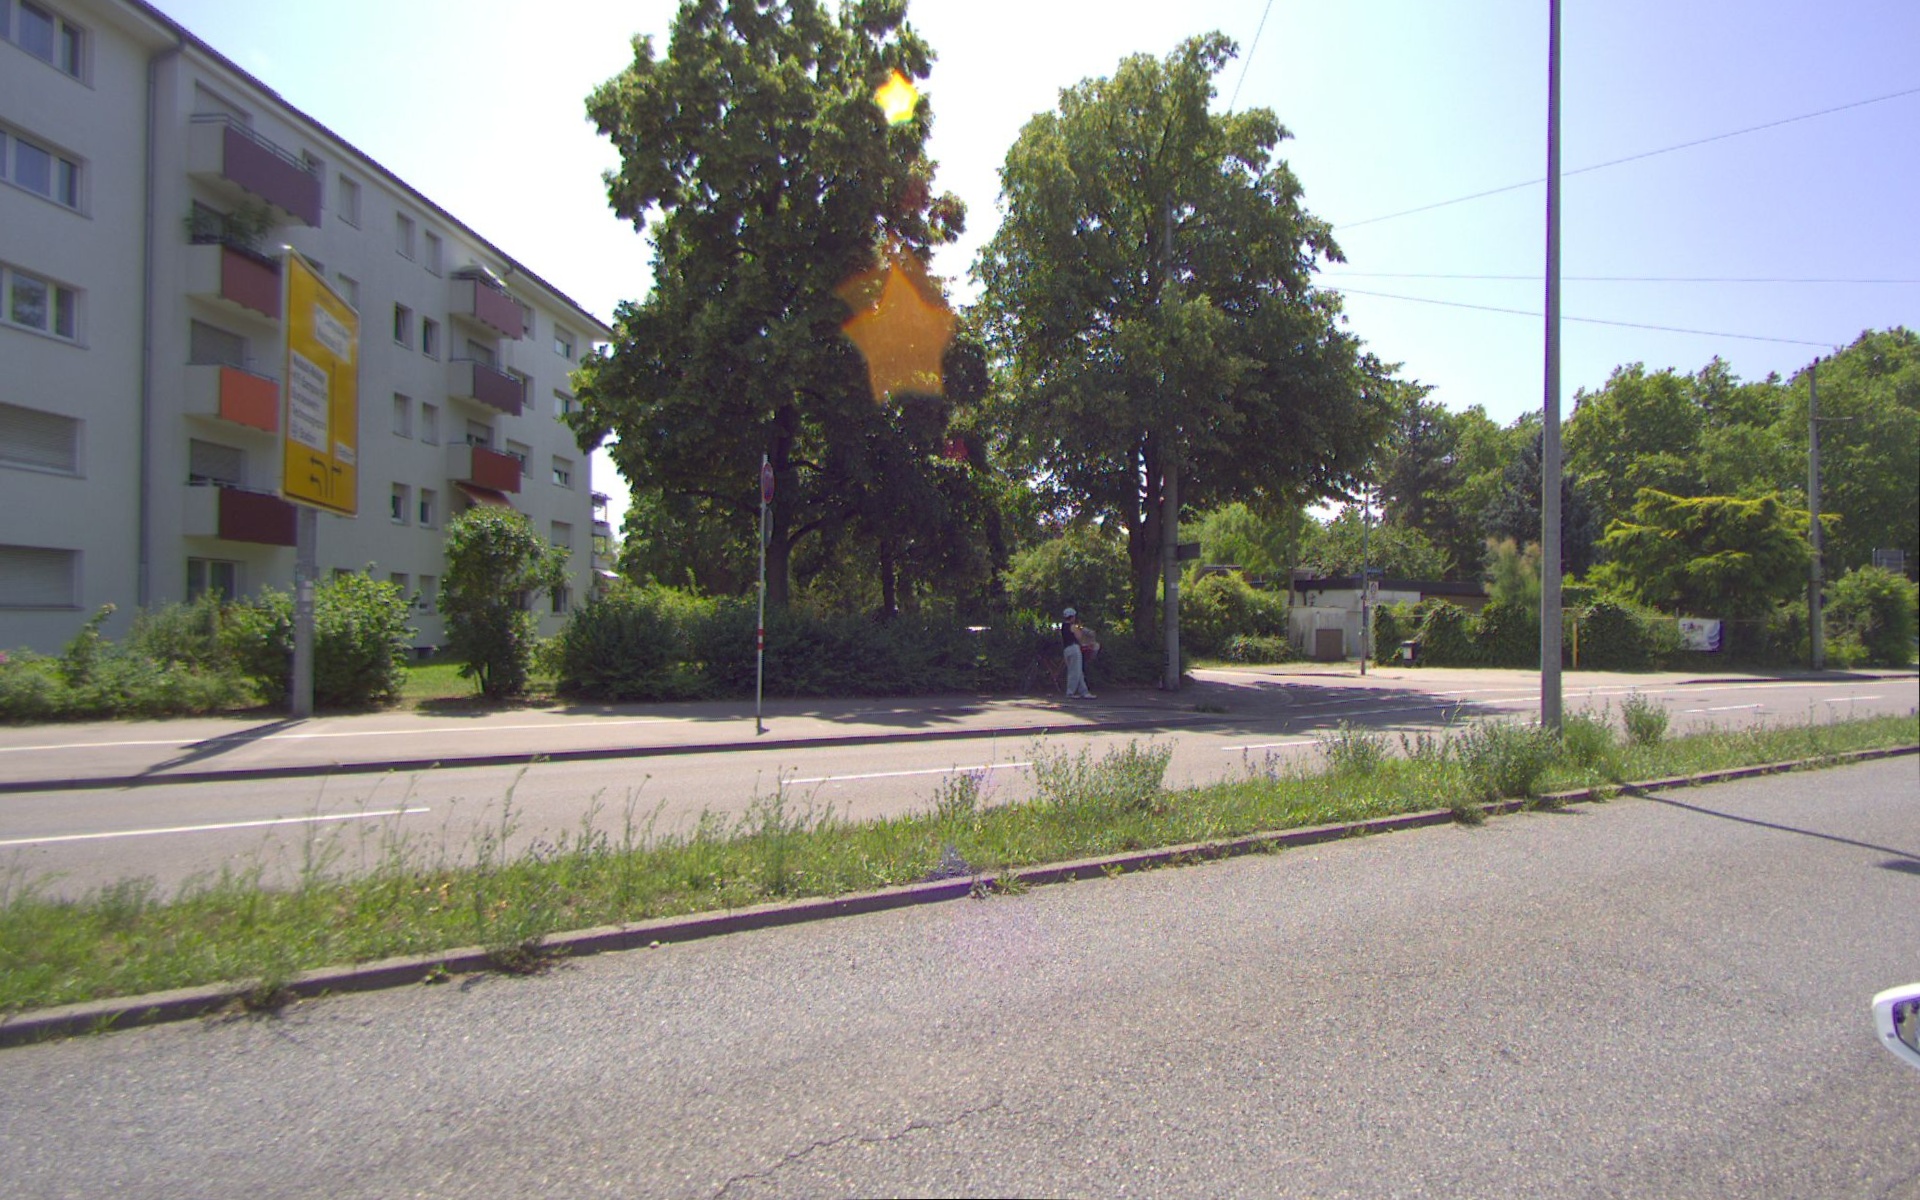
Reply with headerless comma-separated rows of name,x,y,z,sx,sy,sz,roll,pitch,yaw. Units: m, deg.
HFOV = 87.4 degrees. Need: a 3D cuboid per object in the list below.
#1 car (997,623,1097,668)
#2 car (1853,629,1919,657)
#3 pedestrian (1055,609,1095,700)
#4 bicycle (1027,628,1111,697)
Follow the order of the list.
car,3.326,1.738,39.218,1.977,1.634,3.968,1,-1,-30
car,56.221,2.573,60.003,1.743,1.600,3.985,1,-1,-17
pedestrian,2.231,1.050,19.528,0.593,1.741,0.549,1,-1,-16
bicycle,2.191,1.241,20.220,1.547,1.345,0.646,1,-1,-17
